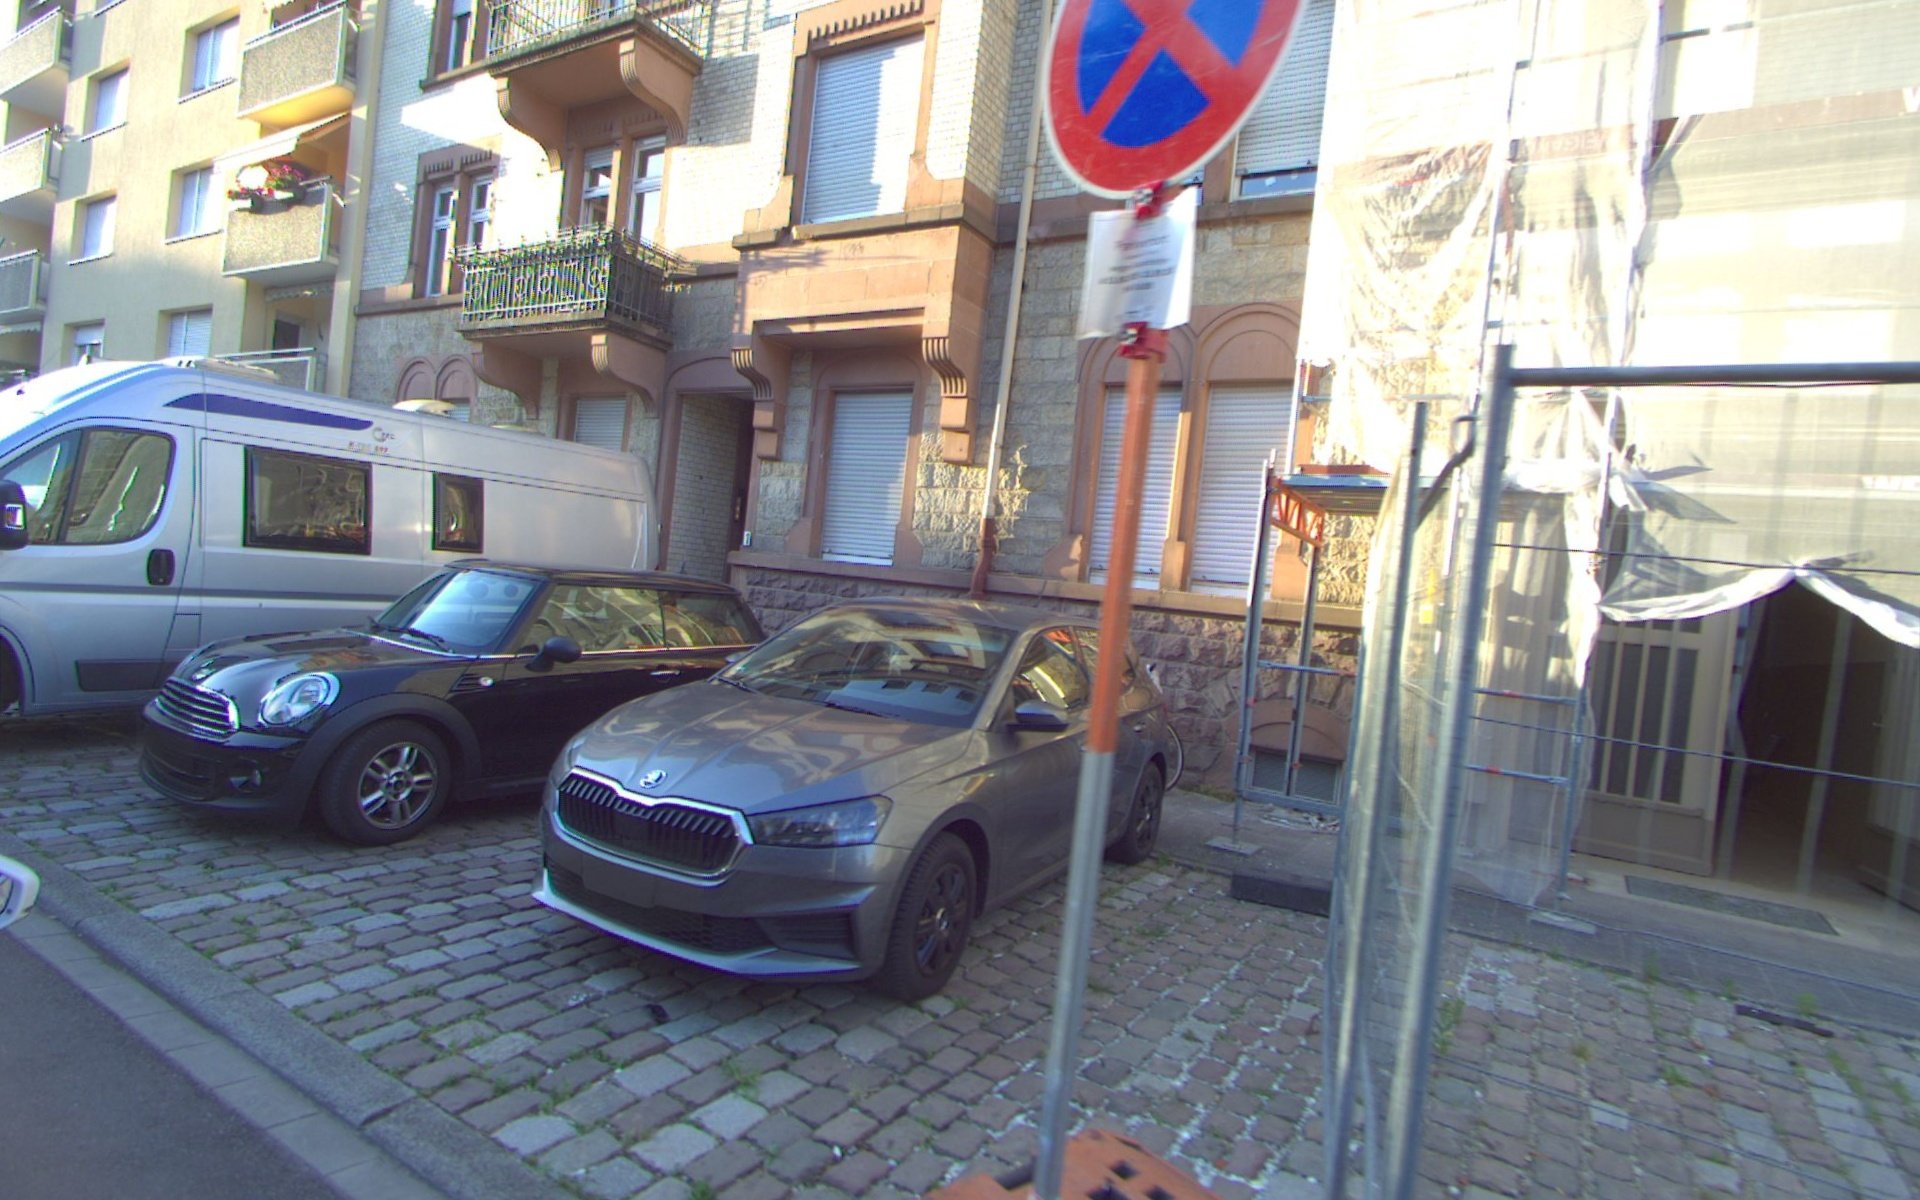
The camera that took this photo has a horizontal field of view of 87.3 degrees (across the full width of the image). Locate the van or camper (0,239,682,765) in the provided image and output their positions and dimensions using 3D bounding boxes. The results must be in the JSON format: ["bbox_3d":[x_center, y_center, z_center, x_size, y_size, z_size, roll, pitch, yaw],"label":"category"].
[{"bbox_3d":[-5.155,-0.441,7.469,2.074,2.802,5.939,6,-1,31],"label":"van or camper"}]

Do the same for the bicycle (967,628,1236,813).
[{"bbox_3d":[1.157,0.952,8.368,1.999,1.182,0.632,7,0,26],"label":"bicycle"}]

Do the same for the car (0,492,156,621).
[{"bbox_3d":[-12.068,-0.590,11.576,1.803,1.473,3.990,6,2,28],"label":"car"}]

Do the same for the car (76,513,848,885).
[{"bbox_3d":[-2.667,0.431,6.273,1.758,1.505,3.934,5,1,33],"label":"car"}]

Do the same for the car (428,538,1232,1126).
[{"bbox_3d":[-0.146,0.668,5.045,1.984,1.536,3.991,6,2,27],"label":"car"}]

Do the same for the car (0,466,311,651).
[{"bbox_3d":[-9.621,-0.447,10.497,1.741,1.750,4.443,6,1,25],"label":"car"}]

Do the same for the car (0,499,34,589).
[{"bbox_3d":[-17.215,-1.060,15.322,1.691,1.444,4.239,6,1,31],"label":"car"}]
